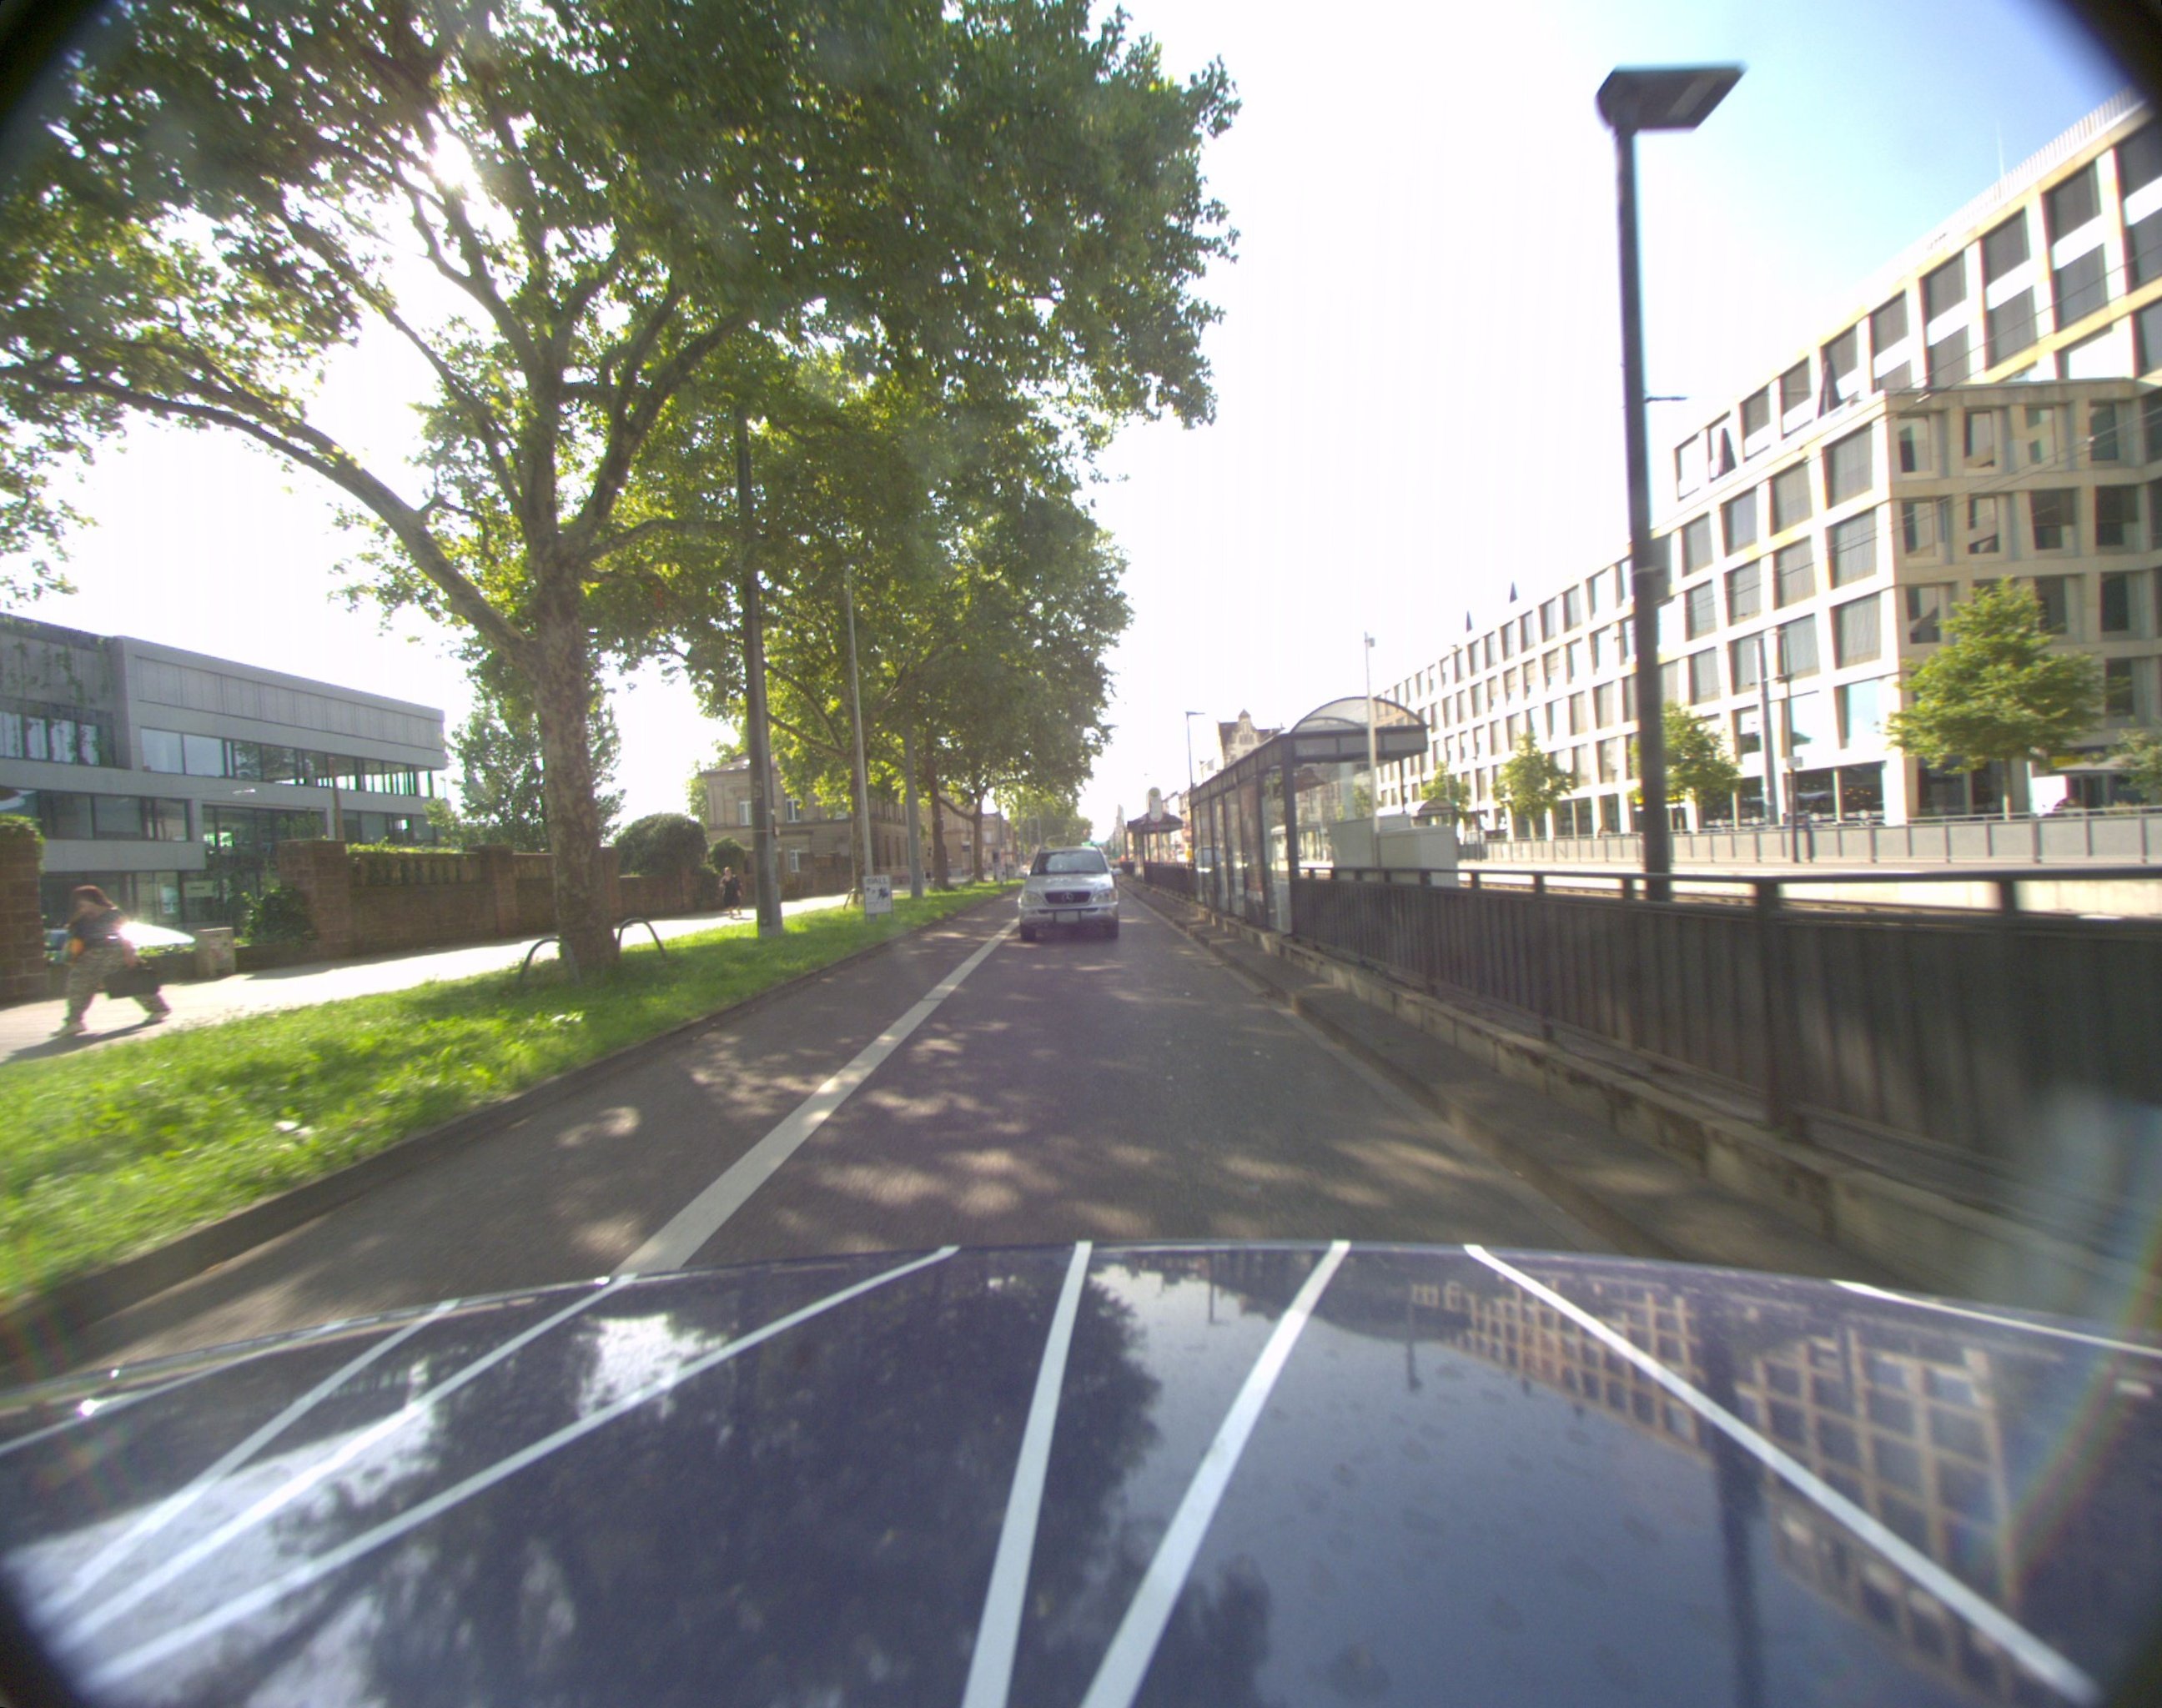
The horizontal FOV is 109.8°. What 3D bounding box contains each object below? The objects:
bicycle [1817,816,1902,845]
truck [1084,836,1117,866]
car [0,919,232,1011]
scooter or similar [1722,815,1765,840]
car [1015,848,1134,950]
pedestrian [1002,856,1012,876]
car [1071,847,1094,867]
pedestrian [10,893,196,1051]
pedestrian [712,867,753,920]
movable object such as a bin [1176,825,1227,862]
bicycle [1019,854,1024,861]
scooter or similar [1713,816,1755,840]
[{"bbox_3d":[30.013,-0.893,29.305,2.439,0.980,0.821,-3,0,-1],"label":"bicycle"},{"bbox_3d":[2.495,-0.309,98.855,2.682,3.656,8.208,-3,0,-9],"label":"truck"},{"bbox_3d":[-21.513,2.387,16.397,4.347,1.581,1.766,-3,0,1],"label":"car"},{"bbox_3d":[28.974,-1.154,33.224,1.526,0.980,0.395,-3,0,-1],"label":"scooter or similar"},{"bbox_3d":[-0.126,0.804,15.940,1.999,1.685,5.225,-3,0,0],"label":"car"},{"bbox_3d":[-6.473,1.085,66.459,0.690,1.687,0.648,-3,0,-21],"label":"pedestrian"},{"bbox_3d":[0.132,0.417,110.561,2.232,2.713,5.166,-4,0,-11],"label":"car"},{"bbox_3d":[-11.049,1.295,8.625,0.808,1.627,0.947,-2,1,1],"label":"pedestrian"},{"bbox_3d":[-11.712,1.315,25.577,0.821,1.676,1.012,-3,0,1],"label":"pedestrian"},{"bbox_3d":[14.483,-1.247,90.504,3.507,3.989,9.055,-3,0,24],"label":"movable object such as a bin"},{"bbox_3d":[-9.499,0.582,121.858,0.719,1.035,1.903,-3,0,-2],"label":"bicycle"},{"bbox_3d":[29.080,-1.143,33.831,1.505,0.980,0.372,-3,0,-1],"label":"scooter or similar"}]
